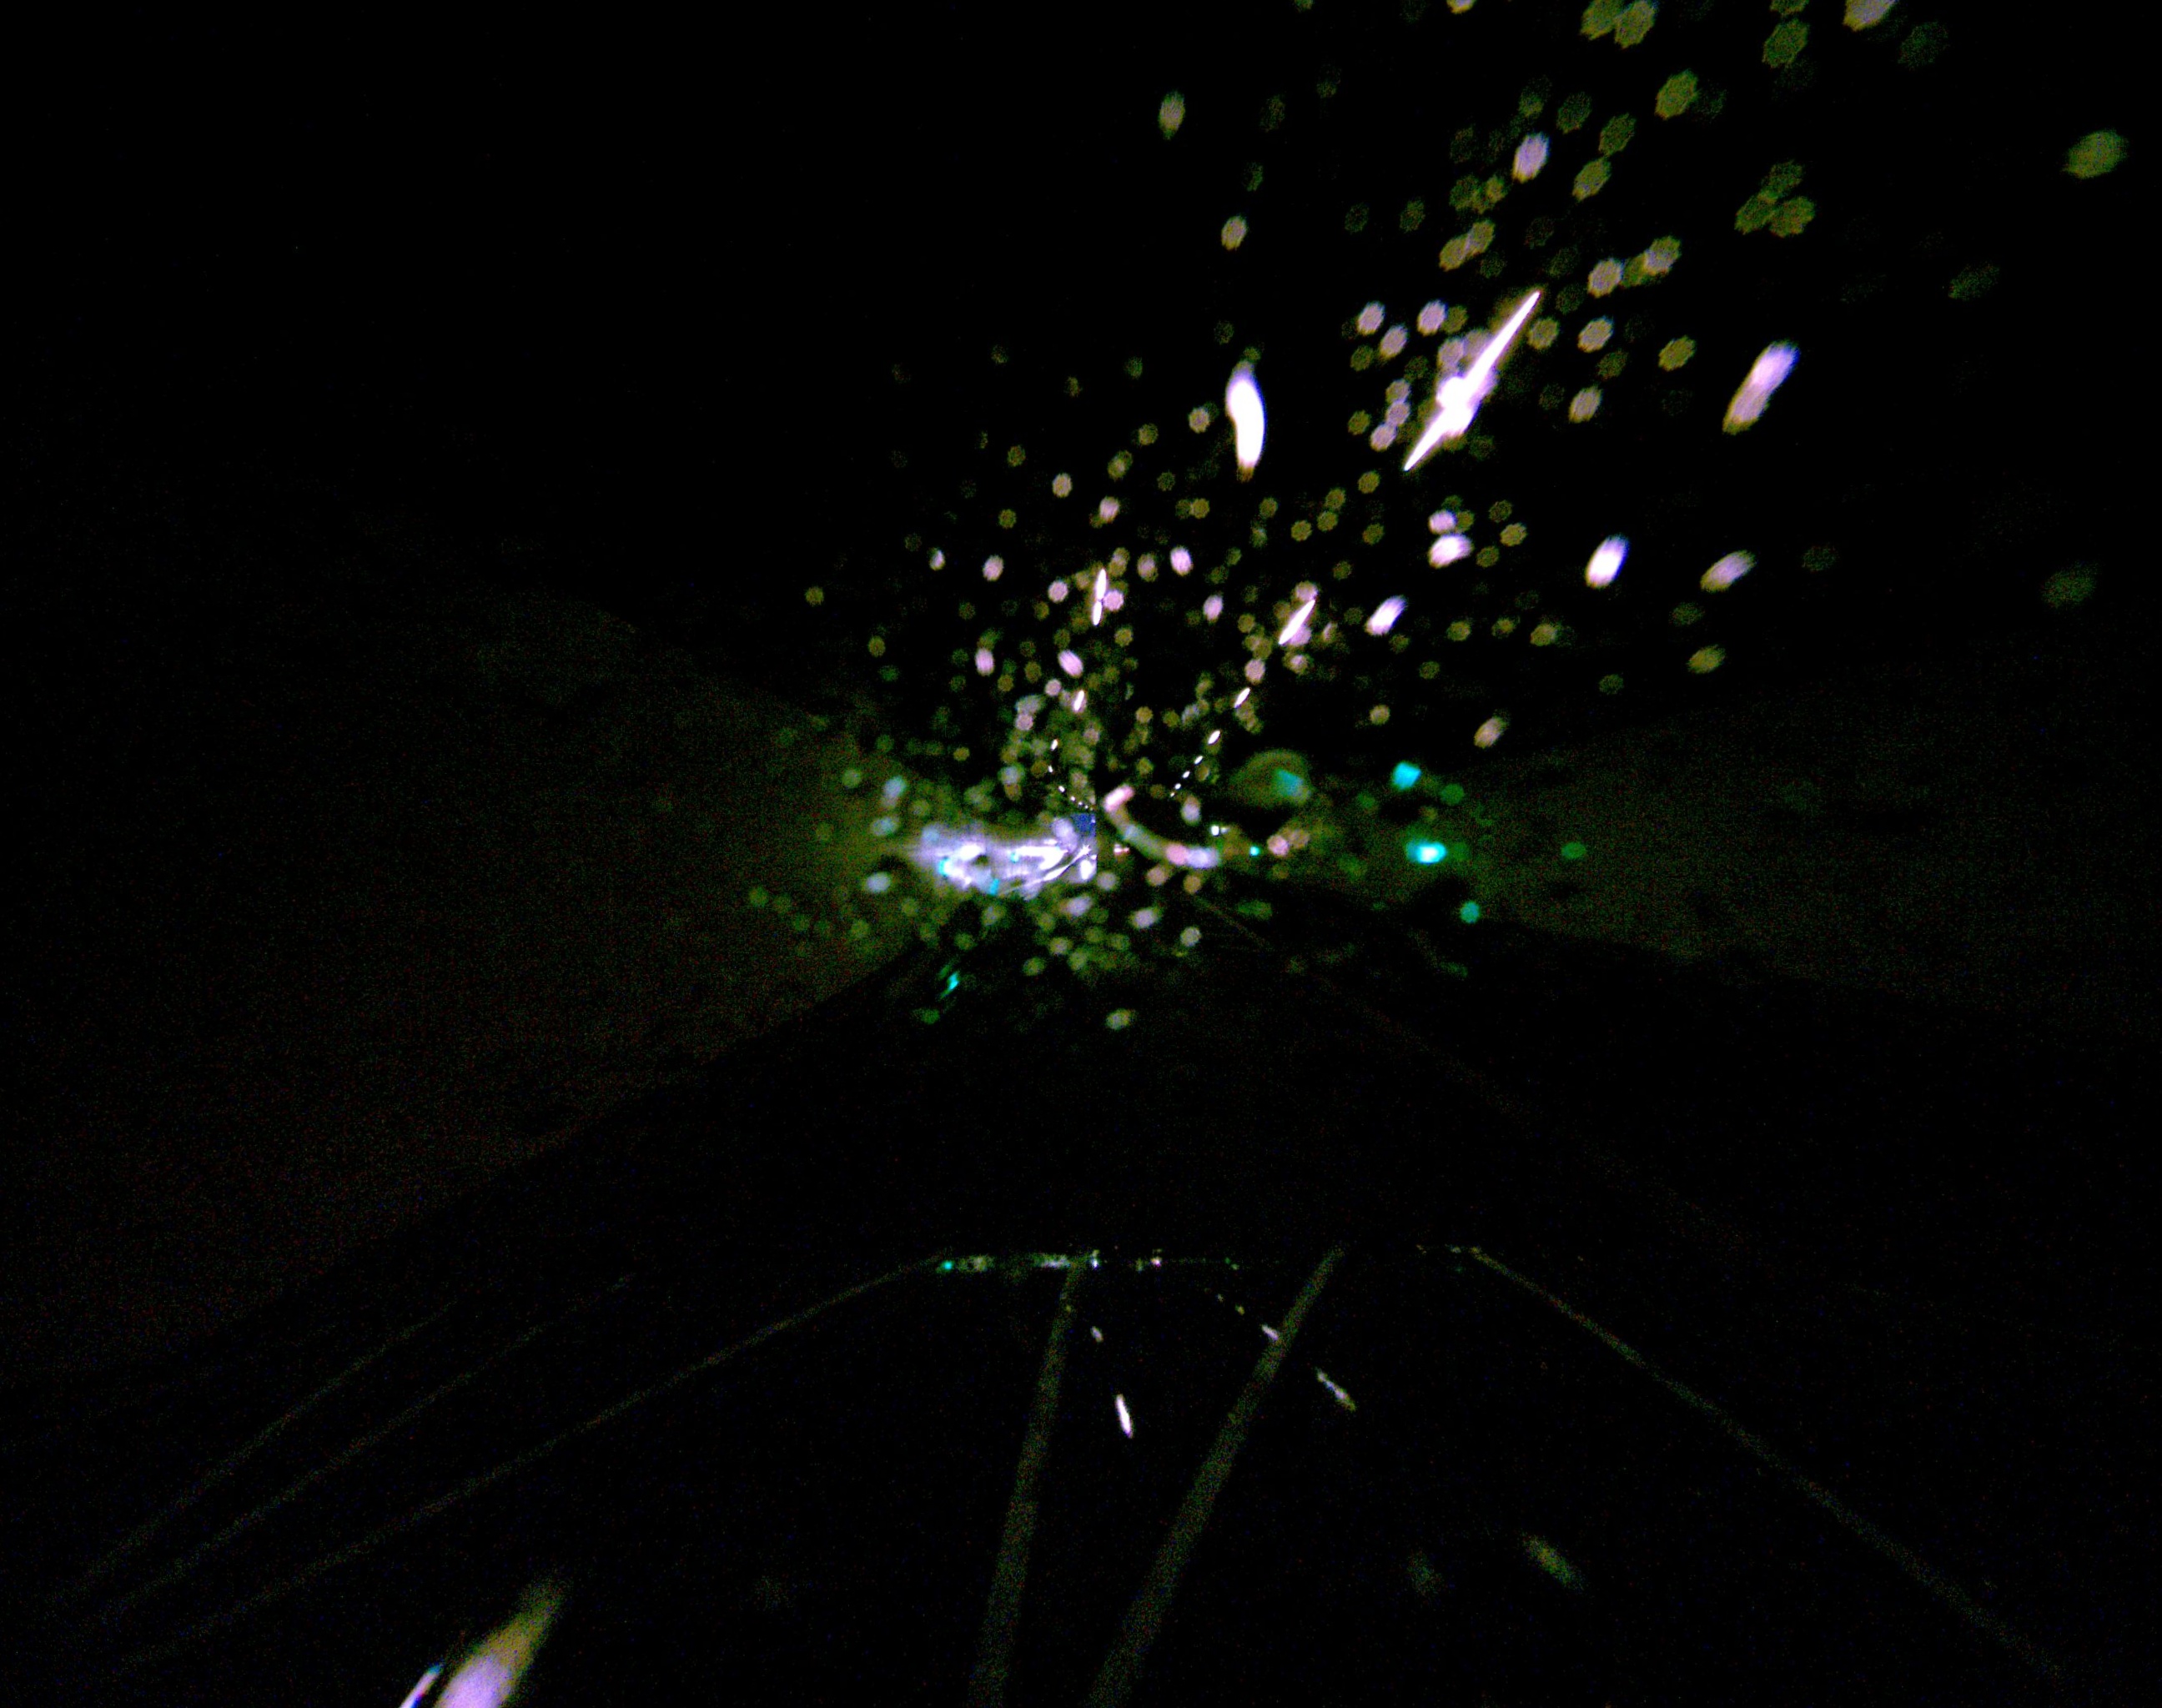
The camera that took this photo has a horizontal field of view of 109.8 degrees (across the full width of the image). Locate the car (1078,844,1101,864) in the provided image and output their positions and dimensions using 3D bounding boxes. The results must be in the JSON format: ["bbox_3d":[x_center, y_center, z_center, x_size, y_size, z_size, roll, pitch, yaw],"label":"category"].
[{"bbox_3d":[0.923,-0.010,77.371,2.030,2.017,4.425,-1,0,4],"label":"car"}]
